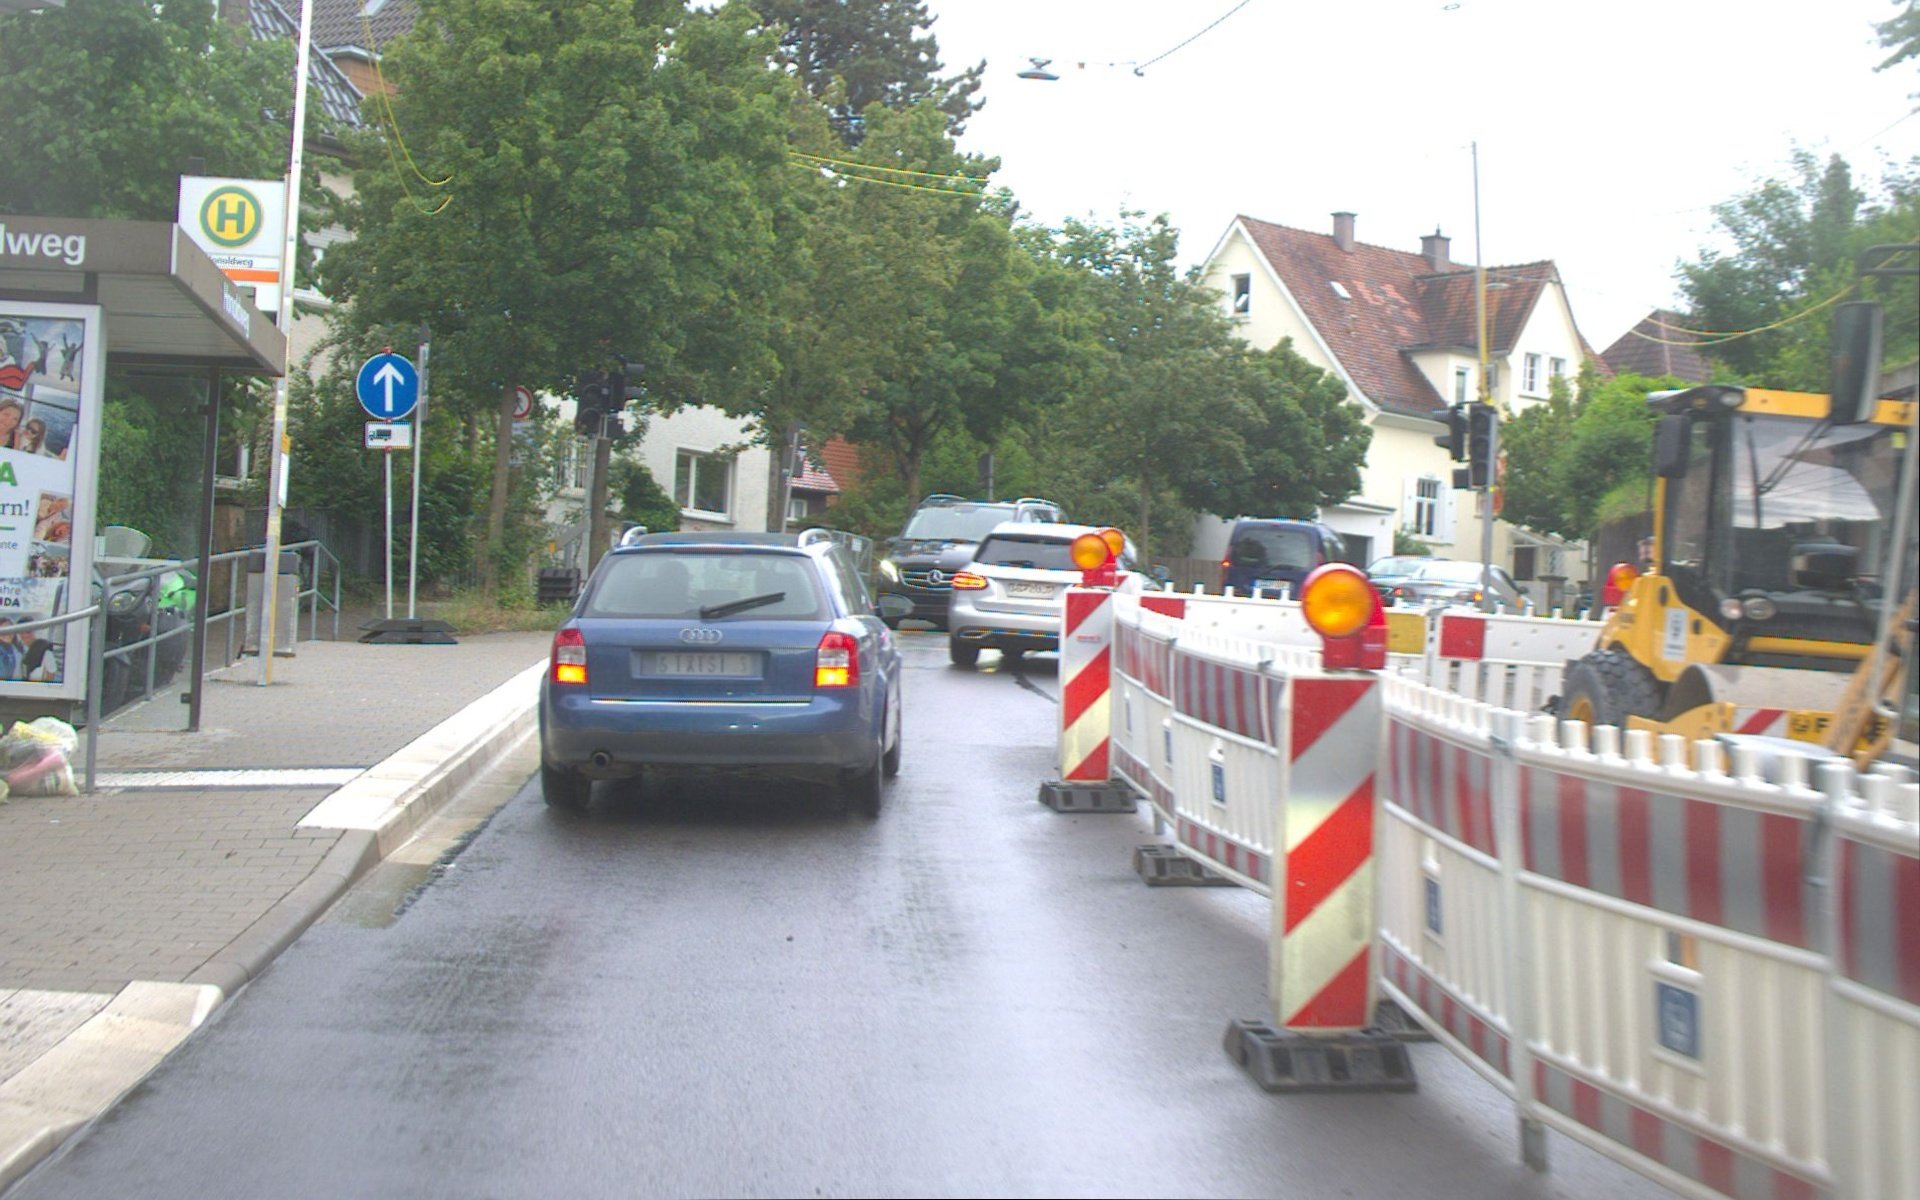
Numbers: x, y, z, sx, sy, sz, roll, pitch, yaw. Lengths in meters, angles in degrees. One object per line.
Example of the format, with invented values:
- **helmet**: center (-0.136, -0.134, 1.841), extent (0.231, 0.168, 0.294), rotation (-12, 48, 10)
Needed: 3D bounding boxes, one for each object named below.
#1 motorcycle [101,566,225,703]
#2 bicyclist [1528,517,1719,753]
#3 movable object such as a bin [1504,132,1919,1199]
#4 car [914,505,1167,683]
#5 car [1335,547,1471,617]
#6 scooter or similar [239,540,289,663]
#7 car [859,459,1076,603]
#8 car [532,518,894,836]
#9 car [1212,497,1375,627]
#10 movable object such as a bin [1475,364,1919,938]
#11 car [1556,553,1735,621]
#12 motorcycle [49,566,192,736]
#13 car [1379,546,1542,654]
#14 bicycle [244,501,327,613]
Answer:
- **motorcycle**: center (-5.939, 0.239, 25.706), extent (0.666, 0.930, 2.011), rotation (1, 2, -7)
- **bicyclist**: center (5.042, 0.252, 26.173), extent (1.073, 1.722, 0.933), rotation (3, 1, -12)
- **movable object such as a bin**: center (3.382, 0.262, 10.733), extent (2.086, 2.829, 5.677), rotation (2, -1, -3)
- **car**: center (0.889, -0.121, 35.010), extent (1.976, 1.629, 4.234), rotation (0, 2, 10)
- **car**: center (9.834, -0.384, 76.125), extent (1.672, 1.461, 3.888), rotation (1, 0, 28)
- **scooter or similar**: center (-6.266, 0.002, 30.962), extent (0.323, 1.077, 1.096), rotation (0, 1, -6)
- **car**: center (0.178, -0.933, 48.079), extent (1.898, 1.883, 5.150), rotation (1, 1, 13)
- **car**: center (-1.239, 0.324, 18.524), extent (1.733, 1.461, 4.001), rotation (0, 2, -2)
- **car**: center (4.943, -0.600, 50.478), extent (1.734, 1.762, 4.233), rotation (1, 2, 14)
- **movable object such as a bin**: center (4.666, 0.181, 20.024), extent (2.086, 2.828, 5.678), rotation (2, 2, -3)
- **car**: center (17.040, -0.309, 85.294), extent (4.891, 1.540, 1.872), rotation (2, 1, -44)
- **motorcycle**: center (-5.663, 0.320, 23.282), extent (0.666, 1.032, 2.153), rotation (1, 2, -7)
- **car**: center (8.954, -0.015, 61.267), extent (1.736, 1.762, 4.230), rotation (3, 2, 23)
- **bicycle**: center (-8.149, -0.540, 41.603), extent (0.490, 1.267, 2.273), rotation (4, 2, 0)
